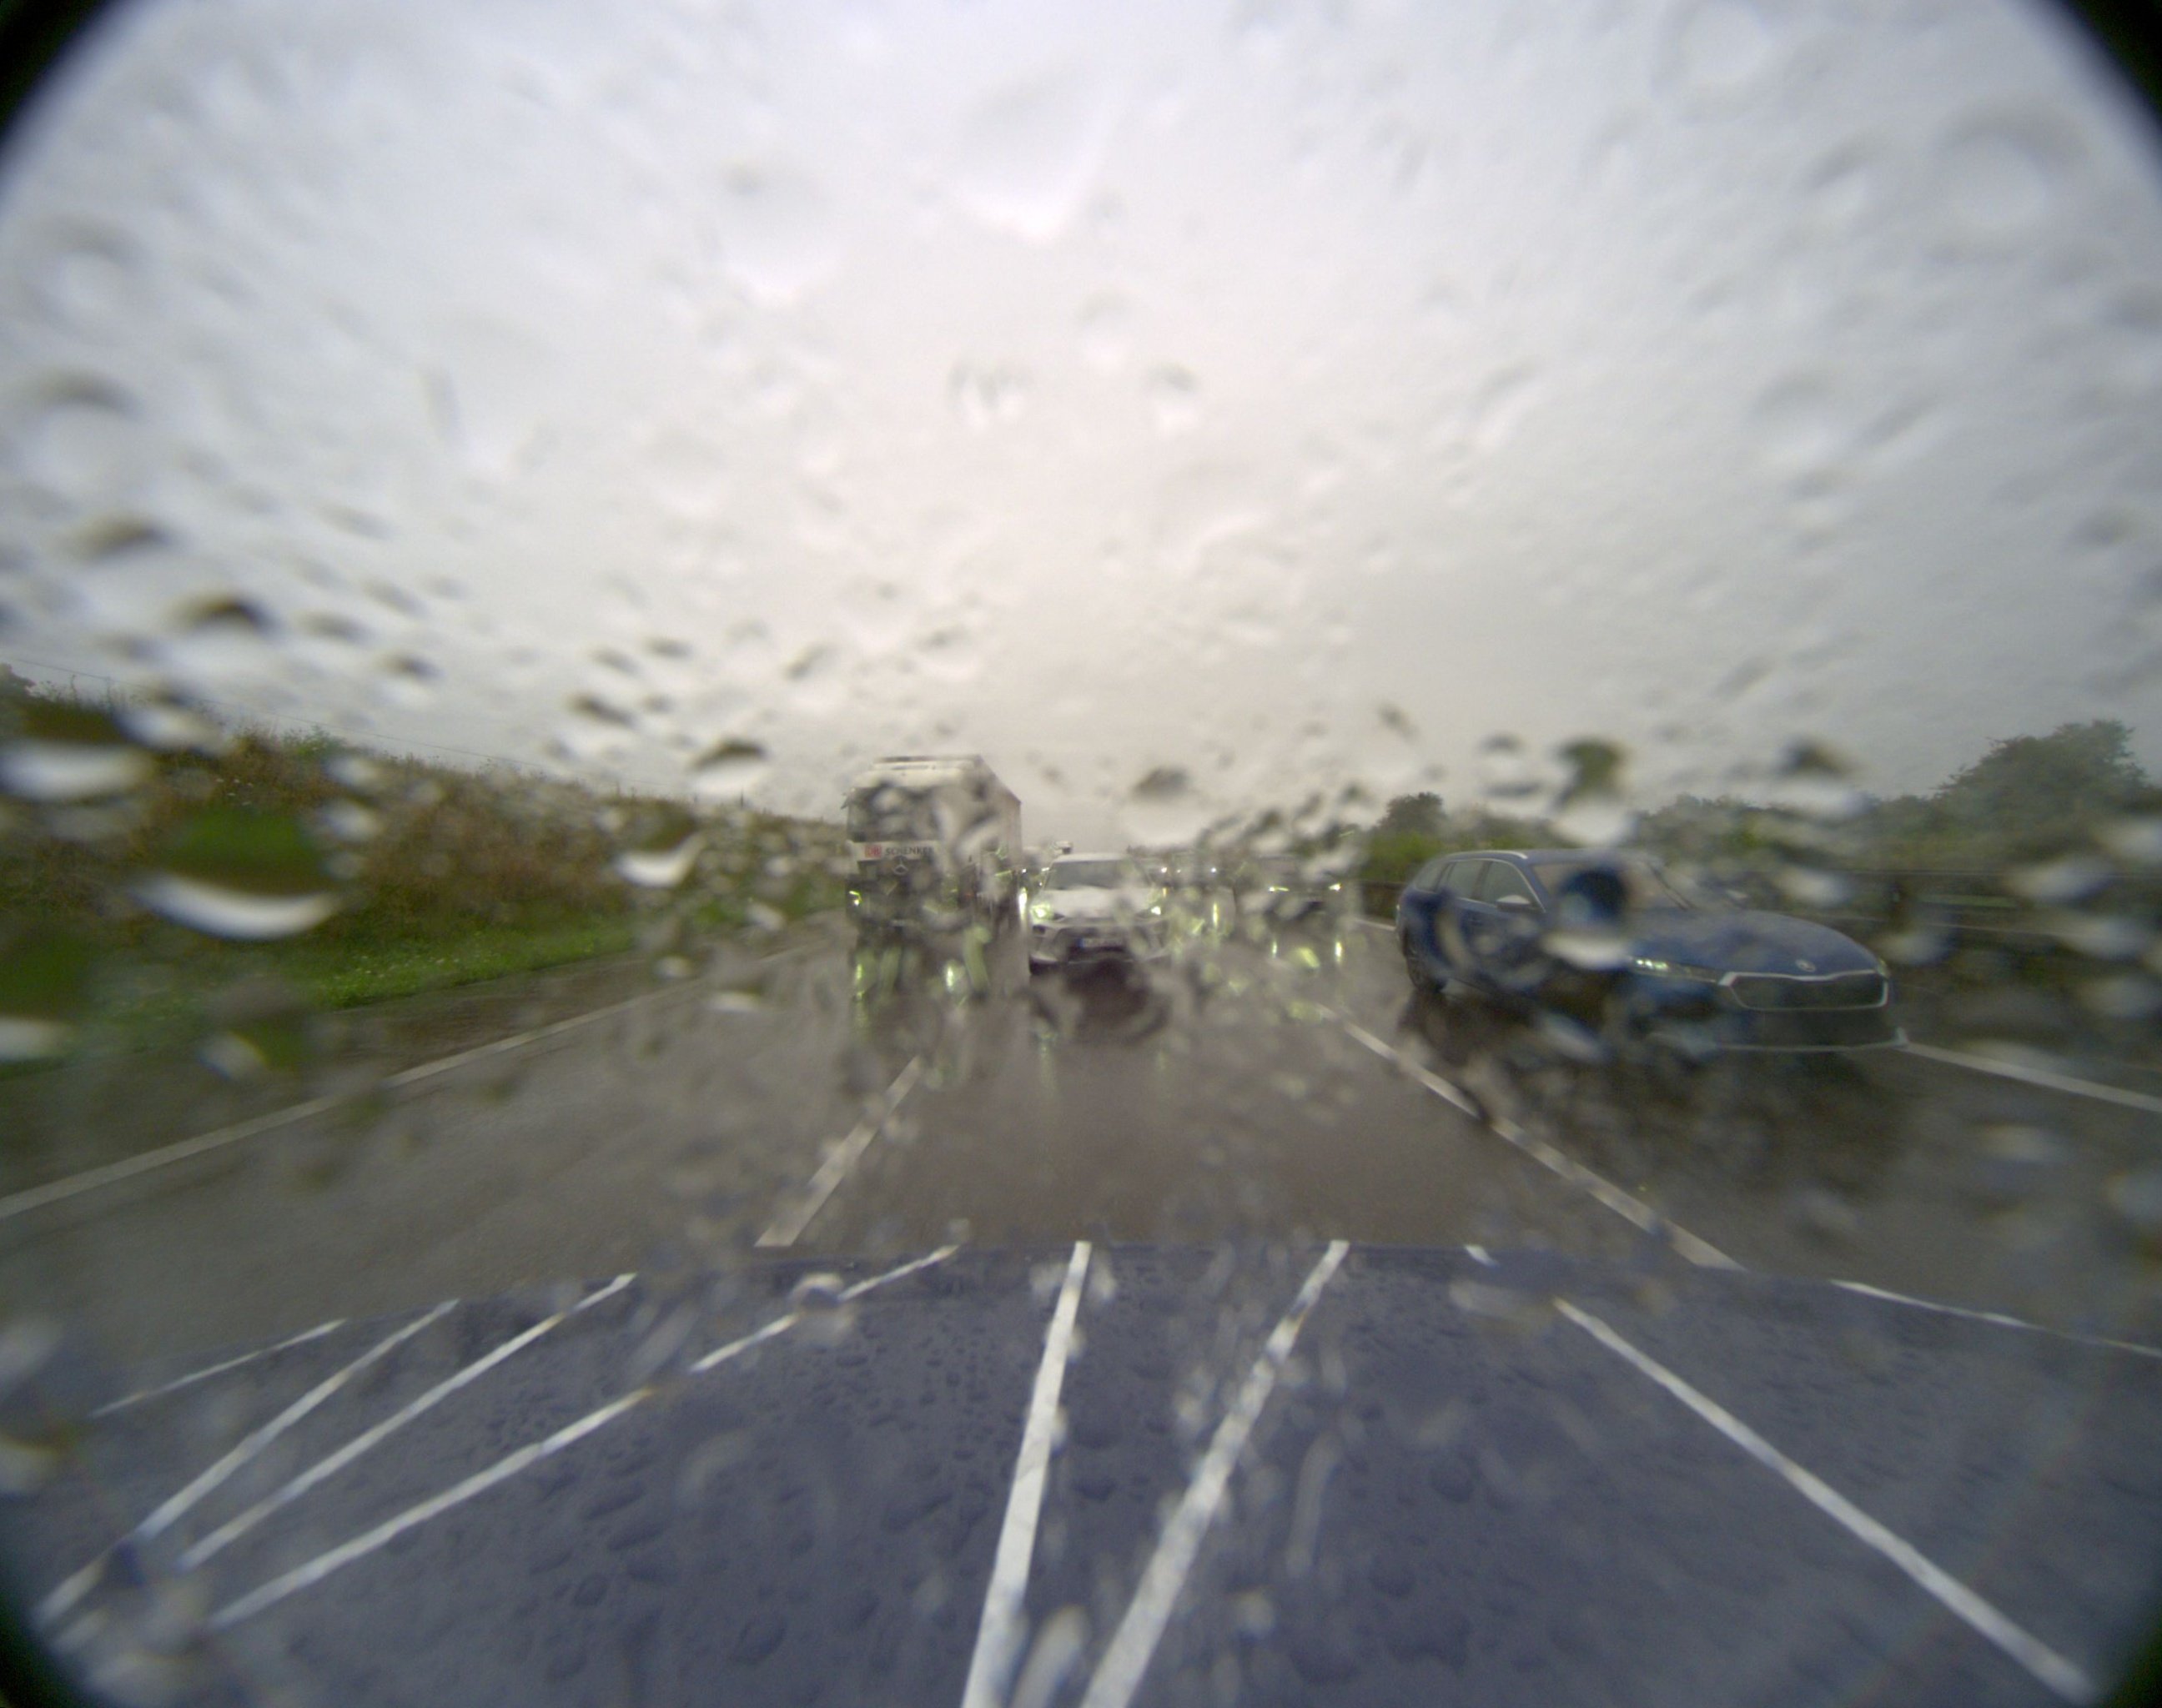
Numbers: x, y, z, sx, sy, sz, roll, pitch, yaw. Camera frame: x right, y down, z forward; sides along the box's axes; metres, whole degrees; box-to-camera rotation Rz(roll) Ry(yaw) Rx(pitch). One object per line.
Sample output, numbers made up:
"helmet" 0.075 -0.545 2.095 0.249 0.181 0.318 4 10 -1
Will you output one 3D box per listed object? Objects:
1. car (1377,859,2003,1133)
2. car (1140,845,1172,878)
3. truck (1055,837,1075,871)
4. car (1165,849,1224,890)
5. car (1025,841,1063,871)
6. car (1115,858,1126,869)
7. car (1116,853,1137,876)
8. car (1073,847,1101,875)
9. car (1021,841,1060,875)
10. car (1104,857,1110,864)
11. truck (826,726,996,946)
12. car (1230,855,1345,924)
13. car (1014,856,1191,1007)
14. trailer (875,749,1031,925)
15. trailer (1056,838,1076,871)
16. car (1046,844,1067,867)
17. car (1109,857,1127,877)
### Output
"car" 4.335 0.819 6.562 1.791 1.467 4.511 -2 0 0
"car" 4.864 0.482 49.894 1.888 2.002 4.270 -2 0 3
"truck" -2.213 0.038 108.338 2.628 4.635 4.290 -2 0 1
"car" 4.835 0.633 32.874 1.889 1.622 4.269 -2 0 0
"car" -2.598 0.118 54.517 2.260 2.002 4.269 -2 1 3
"car" 5.914 1.481 114.219 1.458 1.540 2.804 0 2 1
"car" 4.194 0.933 70.428 1.737 2.002 4.223 -2 0 0
"car" 0.507 0.515 57.994 1.998 2.002 4.000 -2 0 1
"car" -2.506 0.201 48.015 1.946 2.002 4.446 -2 1 2
"car" 6.471 1.604 190.321 1.279 1.567 2.848 -2 0 0
"truck" -3.616 -0.384 17.448 2.633 4.229 5.042 -2 1 0
"car" 4.898 0.764 18.615 1.613 1.428 4.370 -2 0 0
"car" 0.246 0.856 10.297 1.893 1.578 4.000 -2 0 0
"trailer" -3.610 -0.487 25.747 2.633 4.224 14.174 -2 1 0
"trailer" -2.152 0.064 113.381 2.628 4.635 9.221 -2 0 1
"car" -2.580 0.138 79.636 1.998 2.231 4.000 -2 0 0
"car" 3.980 1.409 81.705 1.737 2.002 4.223 -2 0 0
